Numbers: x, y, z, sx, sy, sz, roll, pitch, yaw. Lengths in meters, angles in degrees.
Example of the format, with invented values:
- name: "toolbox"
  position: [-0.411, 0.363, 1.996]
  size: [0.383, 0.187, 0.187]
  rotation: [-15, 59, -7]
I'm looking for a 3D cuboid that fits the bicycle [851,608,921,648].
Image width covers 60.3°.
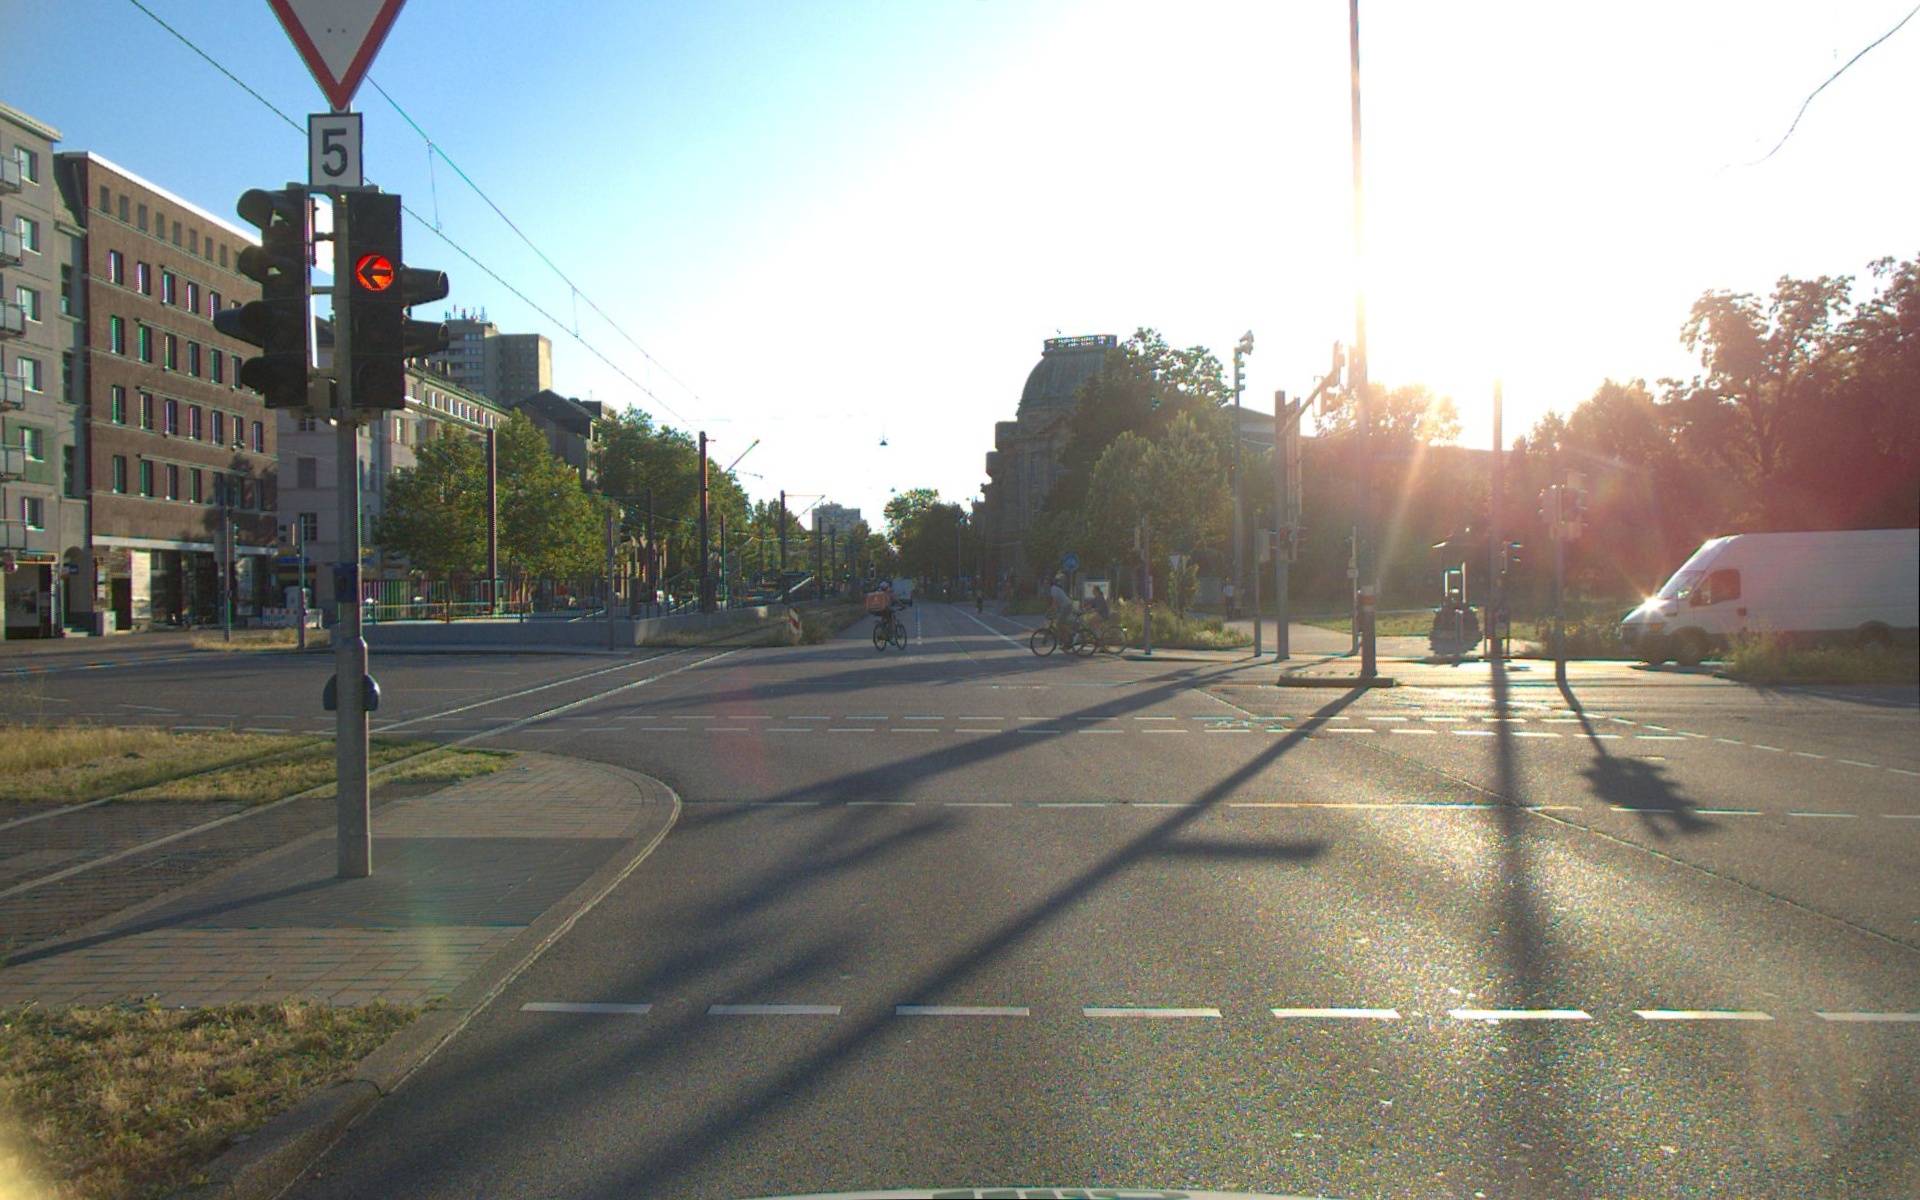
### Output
- name: "bicycle"
  position: [-1.945, 0.741, 43.414]
  size: [1.712, 0.987, 0.696]
  rotation: [1, 2, -34]

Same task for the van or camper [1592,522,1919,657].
- name: "van or camper"
  position: [17.693, -0.268, 35.991]
  size: [6.898, 2.721, 2.599]
  rotation: [-1, 2, 1]

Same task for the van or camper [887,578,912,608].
- name: "van or camper"
  position: [-5.715, -0.722, 155.929]
  size: [2.217, 2.670, 4.503]
  rotation: [-1, 2, -1]

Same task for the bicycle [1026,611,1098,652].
- name: "bicycle"
  position: [2.507, 0.773, 40.831]
  size: [1.696, 0.987, 0.608]
  rotation: [0, 1, -10]

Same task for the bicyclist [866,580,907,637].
- name: "bicyclist"
  position: [-1.923, 0.211, 43.416]
  size: [0.845, 1.467, 0.656]
  rotation: [0, 1, -32]

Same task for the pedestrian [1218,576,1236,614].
- name: "pedestrian"
  position: [11.621, -0.207, 71.944]
  size: [0.668, 1.639, 0.612]
  rotation: [-1, 1, -1]

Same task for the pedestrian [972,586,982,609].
- name: "pedestrian"
  position: [1.173, -0.181, 113.197]
  size: [0.603, 1.501, 0.800]
  rotation: [-1, 1, 3]

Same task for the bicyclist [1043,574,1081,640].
- name: "bicyclist"
  position: [2.511, 0.167, 40.819]
  size: [0.783, 1.598, 0.662]
  rotation: [-1, 1, -9]

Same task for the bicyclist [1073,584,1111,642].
- name: "bicyclist"
  position: [3.441, 0.335, 43.155]
  size: [0.838, 1.467, 0.662]
  rotation: [-1, 1, -9]

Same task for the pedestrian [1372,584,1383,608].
- name: "pedestrian"
  position: [30.173, -0.313, 119.485]
  size: [0.780, 1.731, 0.801]
  rotation: [-1, 0, 14]

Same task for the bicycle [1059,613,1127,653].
- name: "bicycle"
  position: [3.465, 0.850, 43.165]
  size: [1.686, 0.987, 0.608]
  rotation: [0, 1, -10]
